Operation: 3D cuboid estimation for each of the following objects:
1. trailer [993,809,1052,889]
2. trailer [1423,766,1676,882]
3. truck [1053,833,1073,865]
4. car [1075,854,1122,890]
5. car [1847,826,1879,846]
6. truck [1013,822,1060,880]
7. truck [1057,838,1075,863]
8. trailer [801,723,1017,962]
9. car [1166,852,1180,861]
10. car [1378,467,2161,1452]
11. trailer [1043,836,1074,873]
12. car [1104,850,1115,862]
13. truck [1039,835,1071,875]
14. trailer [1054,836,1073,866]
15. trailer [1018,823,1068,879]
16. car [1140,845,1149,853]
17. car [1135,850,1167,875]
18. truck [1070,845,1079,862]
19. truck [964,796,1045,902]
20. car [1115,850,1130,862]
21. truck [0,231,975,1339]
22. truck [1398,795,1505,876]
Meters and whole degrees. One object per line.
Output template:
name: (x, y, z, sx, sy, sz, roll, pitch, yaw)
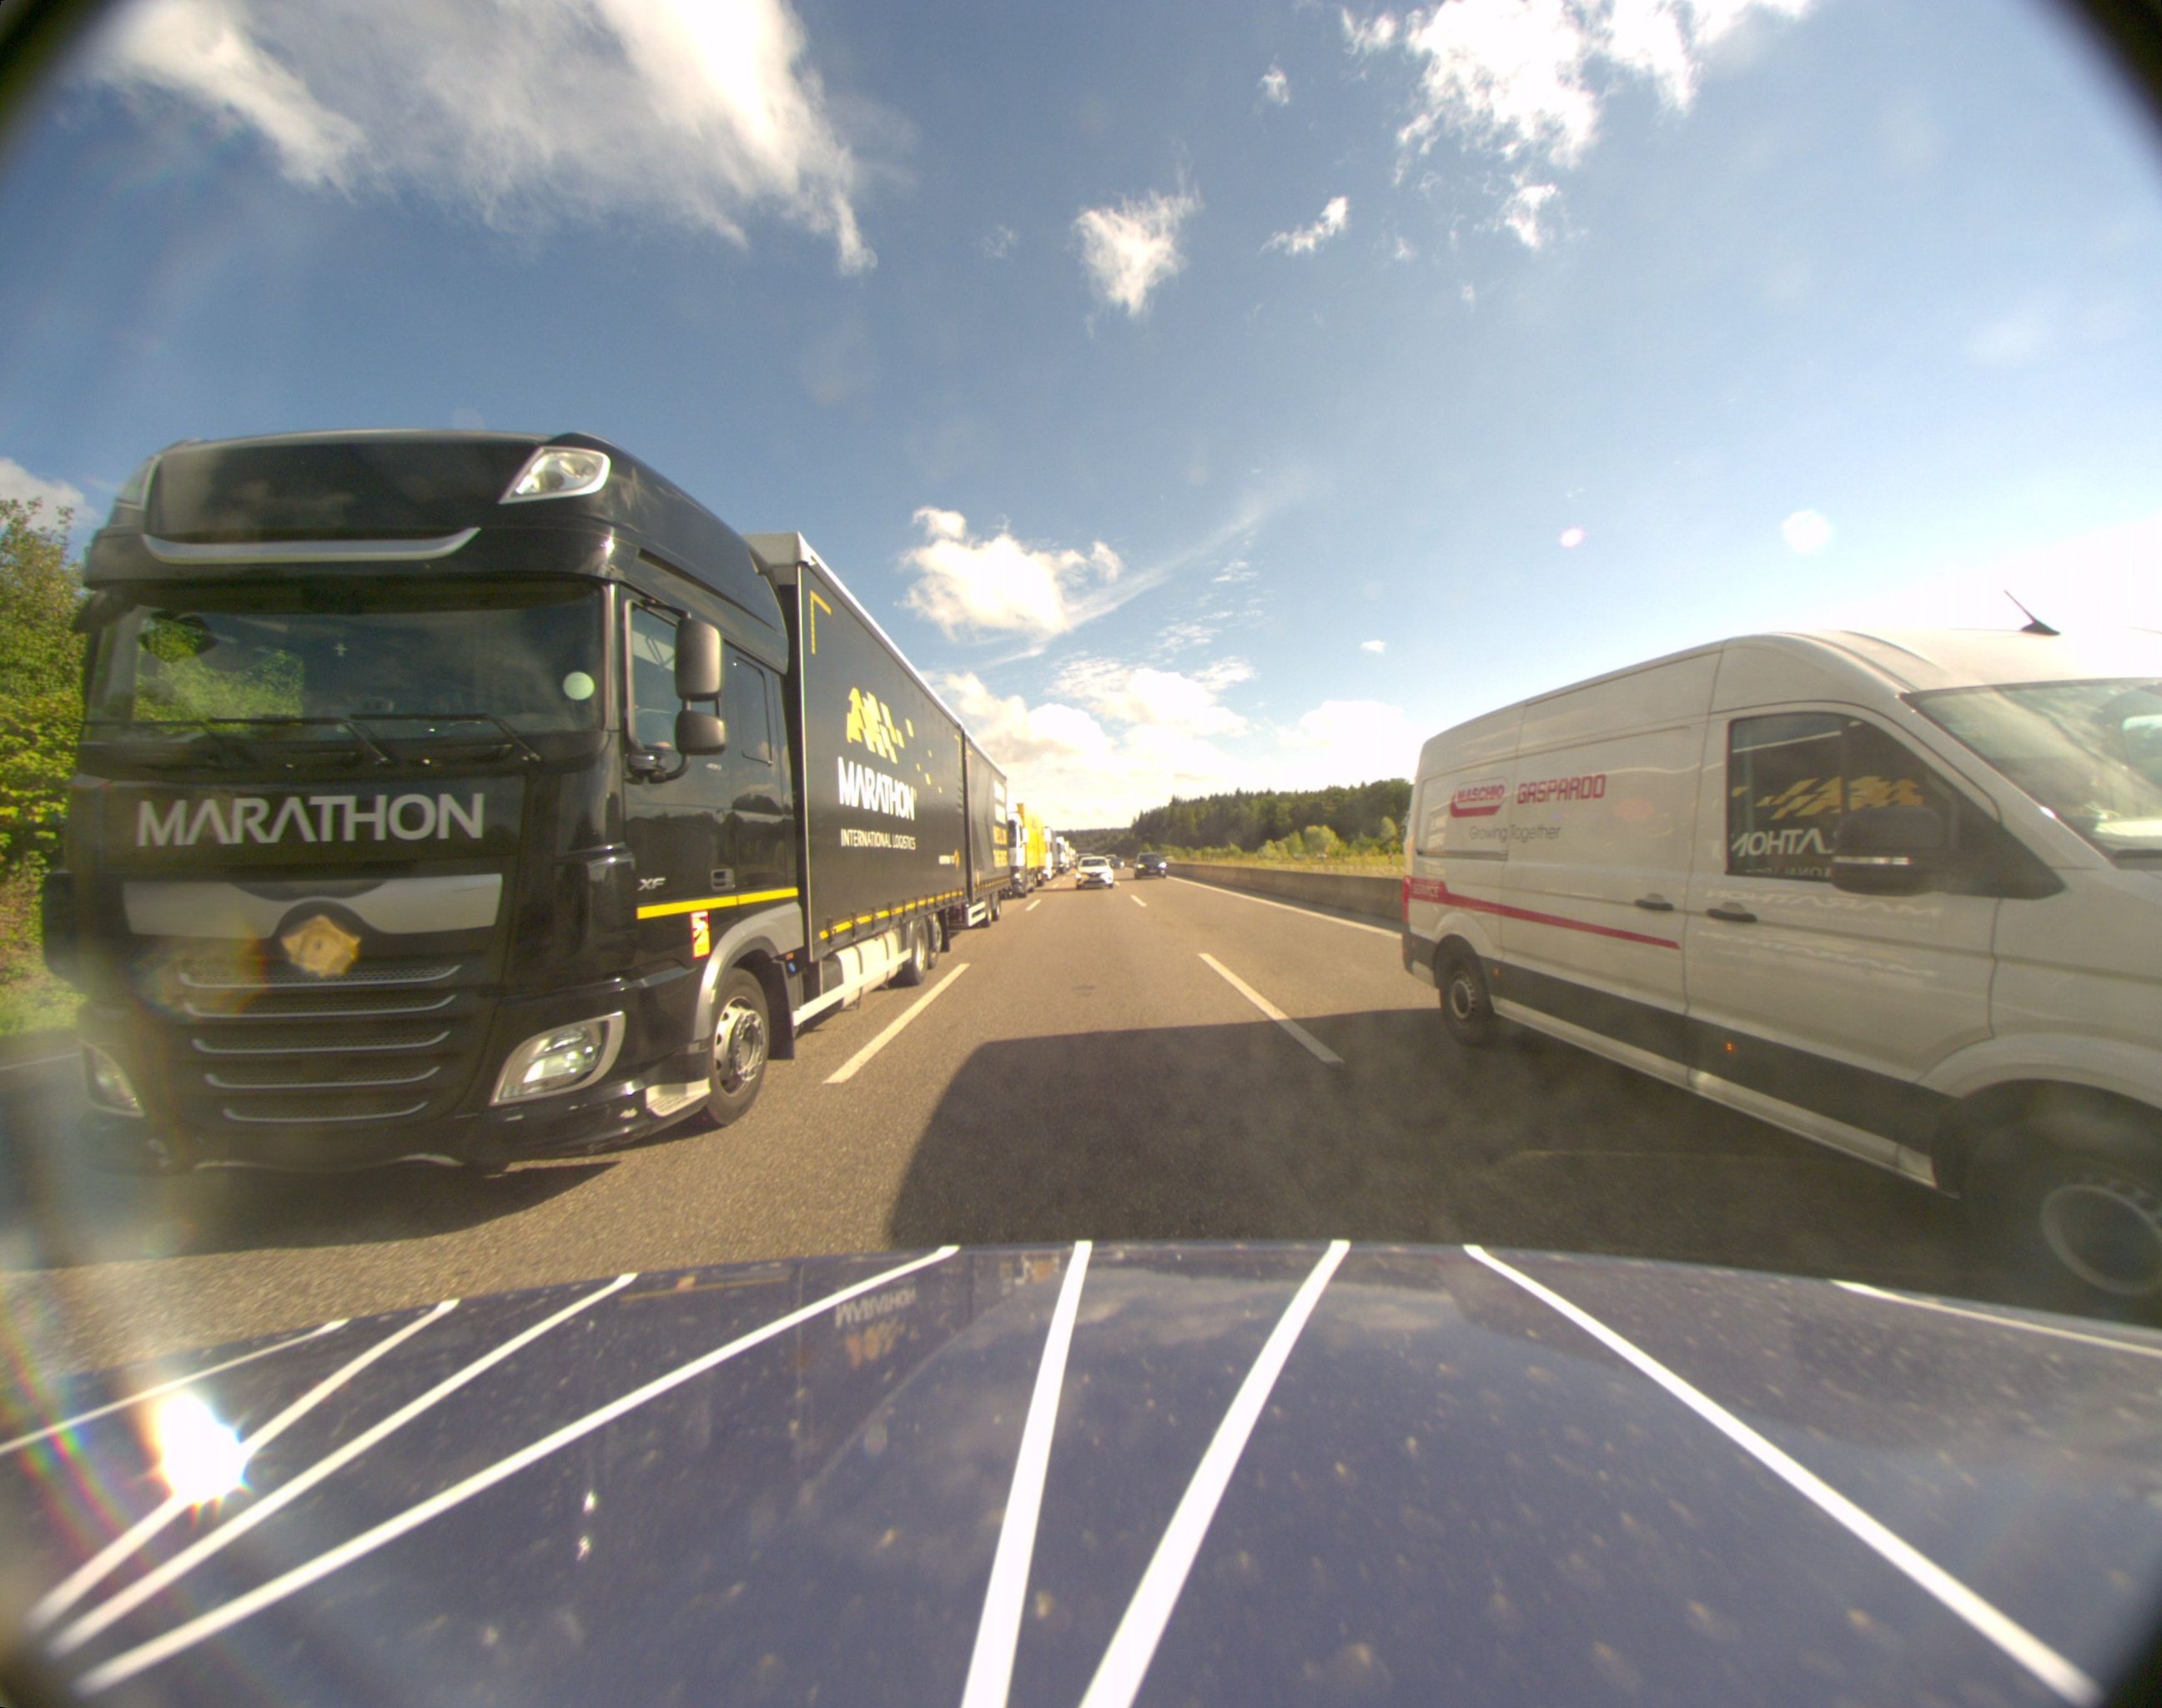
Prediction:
trailer: (-3.219, -0.252, 44.230, 2.418, 4.045, 8.926, -4, 0, 0)
trailer: (19.464, -1.090, 33.378, 2.839, 3.969, 13.548, -2, 0, 1)
truck: (-2.386, -0.562, 101.233, 2.371, 3.996, 6.106, -3, -1, 0)
car: (0.902, 0.839, 37.271, 2.026, 1.510, 5.299, -4, 0, 2)
car: (80.318, -1.841, 78.085, 1.995, 1.789, 4.986, -3, 1, 43)
truck: (-3.307, -0.270, 58.540, 2.654, 4.066, 6.492, -4, 1, 3)
truck: (-2.471, -0.512, 129.223, 2.634, 3.959, 5.956, -4, 0, 1)
trailer: (-3.334, -0.178, 17.458, 2.723, 3.937, 8.711, -4, 0, 0)
car: (17.126, 0.514, 141.792, 1.923, 1.468, 4.933, -4, 0, 0)
car: (3.826, 0.277, 3.993, 2.020, 2.583, 6.181, -2, 0, 0)
trailer: (-2.518, -0.004, 88.911, 2.652, 3.911, 11.175, -4, 0, 2)
car: (4.626, 0.392, 123.842, 1.779, 1.923, 4.214, -1, 0, 1)
truck: (-2.728, 0.104, 82.126, 2.655, 3.901, 6.943, -4, 0, 2)
trailer: (-2.425, -0.345, 108.937, 2.334, 3.973, 14.300, -3, -1, 0)
trailer: (-3.038, -0.313, 64.545, 2.648, 4.074, 13.981, -4, 0, 3)
car: (21.677, -1.780, 259.559, 2.038, 2.563, 7.321, -4, 0, 0)
car: (4.463, 0.497, 48.922, 1.779, 1.533, 4.158, 0, 1, 1)
truck: (-1.569, -0.224, 185.534, 1.998, 3.999, 7.344, -4, 1, 0)
truck: (-3.274, -0.217, 34.923, 2.418, 4.045, 9.664, -4, 0, 0)
car: (5.247, 0.281, 96.177, 1.779, 1.451, 4.158, -1, 1, 1)
truck: (-3.331, -0.256, 7.954, 2.748, 4.015, 10.201, -4, 0, 0)
truck: (19.540, -0.926, 40.522, 2.826, 3.953, 5.832, -2, 1, 0)
